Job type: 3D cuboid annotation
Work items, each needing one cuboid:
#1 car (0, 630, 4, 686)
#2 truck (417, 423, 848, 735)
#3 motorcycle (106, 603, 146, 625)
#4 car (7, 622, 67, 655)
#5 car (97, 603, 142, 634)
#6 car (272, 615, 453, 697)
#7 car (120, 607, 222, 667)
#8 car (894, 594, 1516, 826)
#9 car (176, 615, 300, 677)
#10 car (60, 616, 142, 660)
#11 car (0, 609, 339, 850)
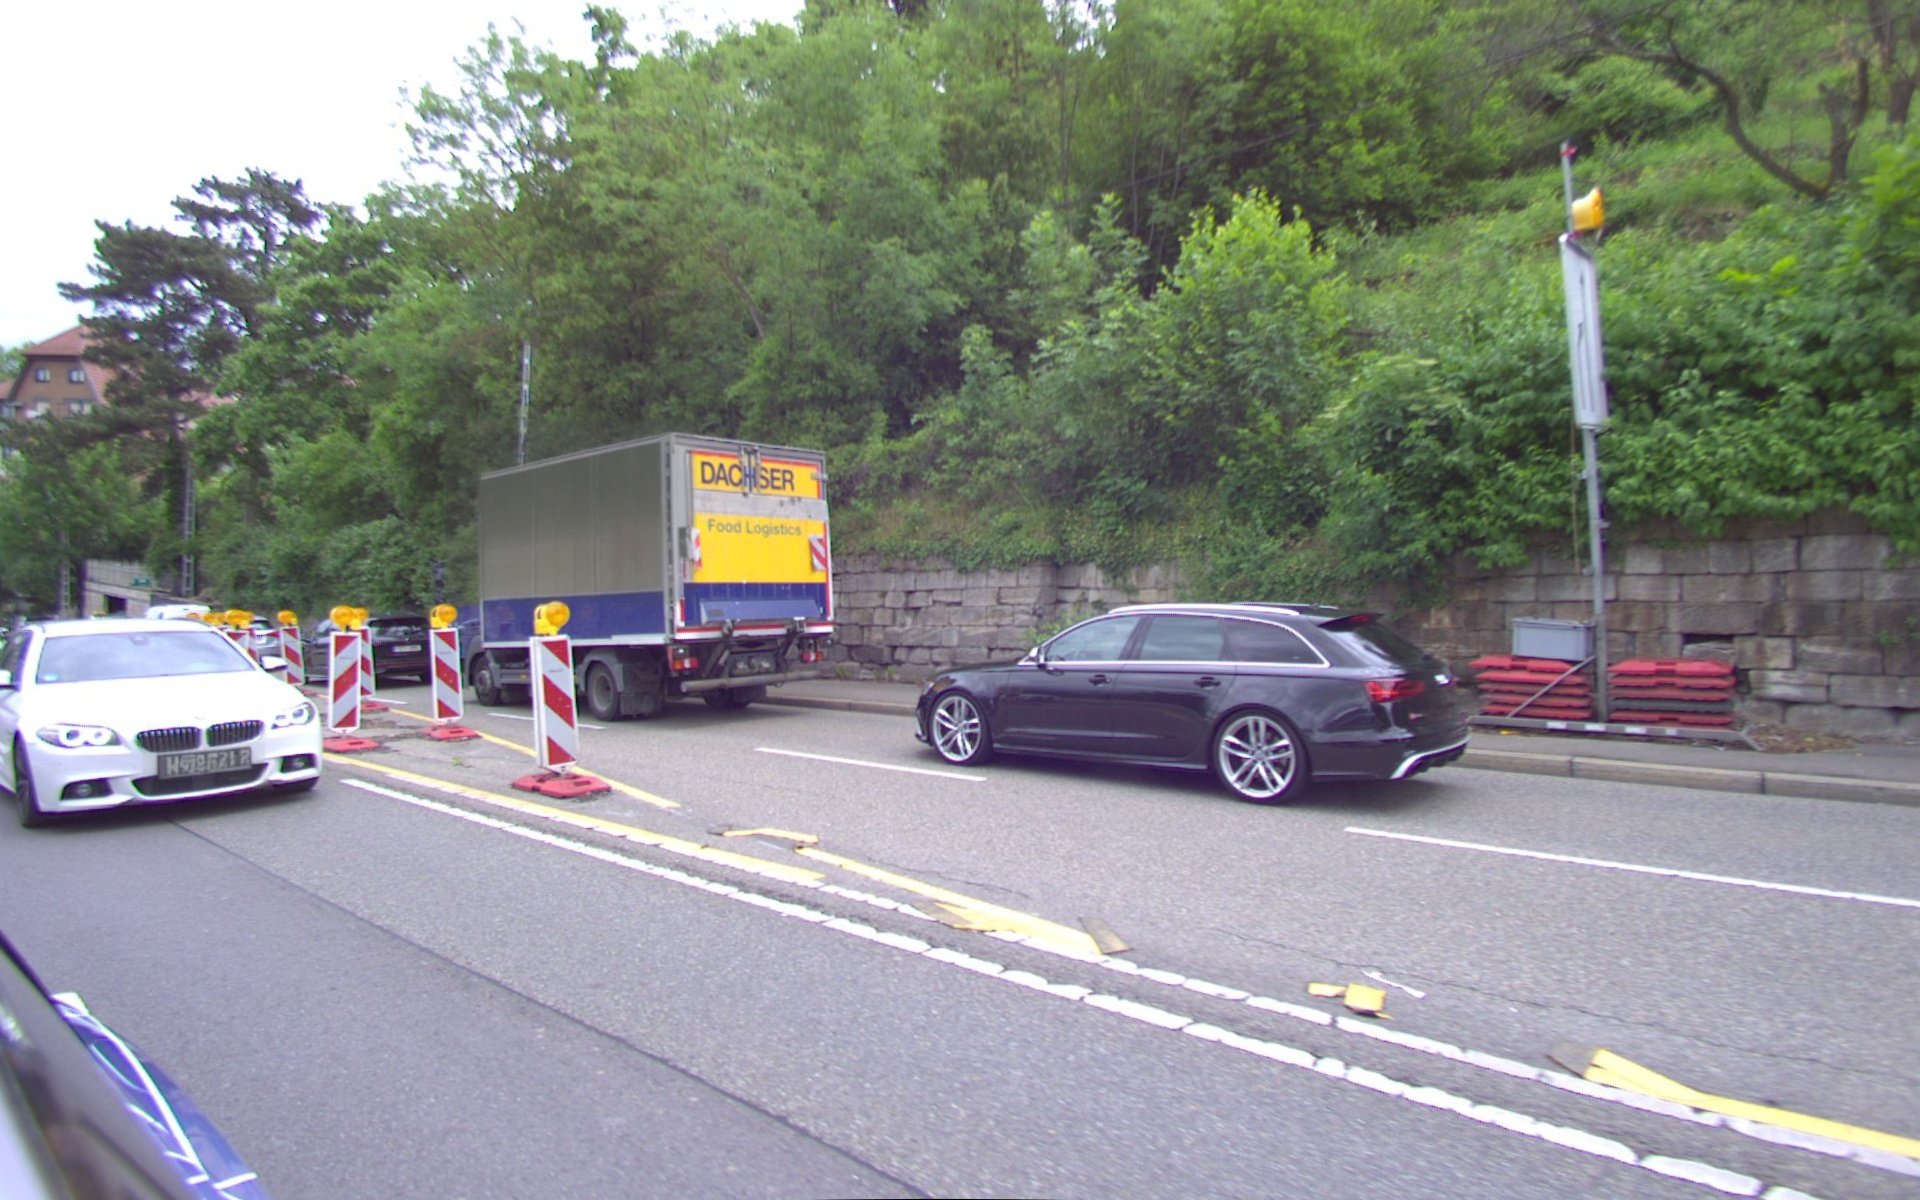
[{"bbox_3d":[-24.811,1.422,24.802,4.101,1.316,1.774,-1,-1,43],"label":"car"},{"bbox_3d":[-5.135,-0.204,14.924,7.347,3.536,2.702,-1,-1,42],"label":"truck"},{"bbox_3d":[-50.698,0.841,61.534,0.637,1.192,1.818,5,5,43],"label":"motorcycle"},{"bbox_3d":[-47.502,1.941,52.069,4.316,1.496,1.810,-1,1,41],"label":"car"},{"bbox_3d":[-52.366,1.119,63.016,3.586,1.616,1.552,5,5,41],"label":"car"},{"bbox_3d":[-12.357,1.065,20.789,4.743,1.452,1.752,-1,1,41],"label":"car"},{"bbox_3d":[-25.979,1.166,33.284,4.339,1.804,1.784,-1,1,41],"label":"car"},{"bbox_3d":[1.803,0.730,8.616,4.872,1.440,1.791,-1,0,41],"label":"car"},{"bbox_3d":[-20.046,1.228,28.031,4.309,1.519,1.773,-1,1,40],"label":"car"},{"bbox_3d":[-34.457,1.479,40.558,4.652,1.604,1.812,-1,1,41],"label":"car"},{"bbox_3d":[-7.292,0.873,8.788,4.876,1.478,1.829,-1,1,41],"label":"car"}]
